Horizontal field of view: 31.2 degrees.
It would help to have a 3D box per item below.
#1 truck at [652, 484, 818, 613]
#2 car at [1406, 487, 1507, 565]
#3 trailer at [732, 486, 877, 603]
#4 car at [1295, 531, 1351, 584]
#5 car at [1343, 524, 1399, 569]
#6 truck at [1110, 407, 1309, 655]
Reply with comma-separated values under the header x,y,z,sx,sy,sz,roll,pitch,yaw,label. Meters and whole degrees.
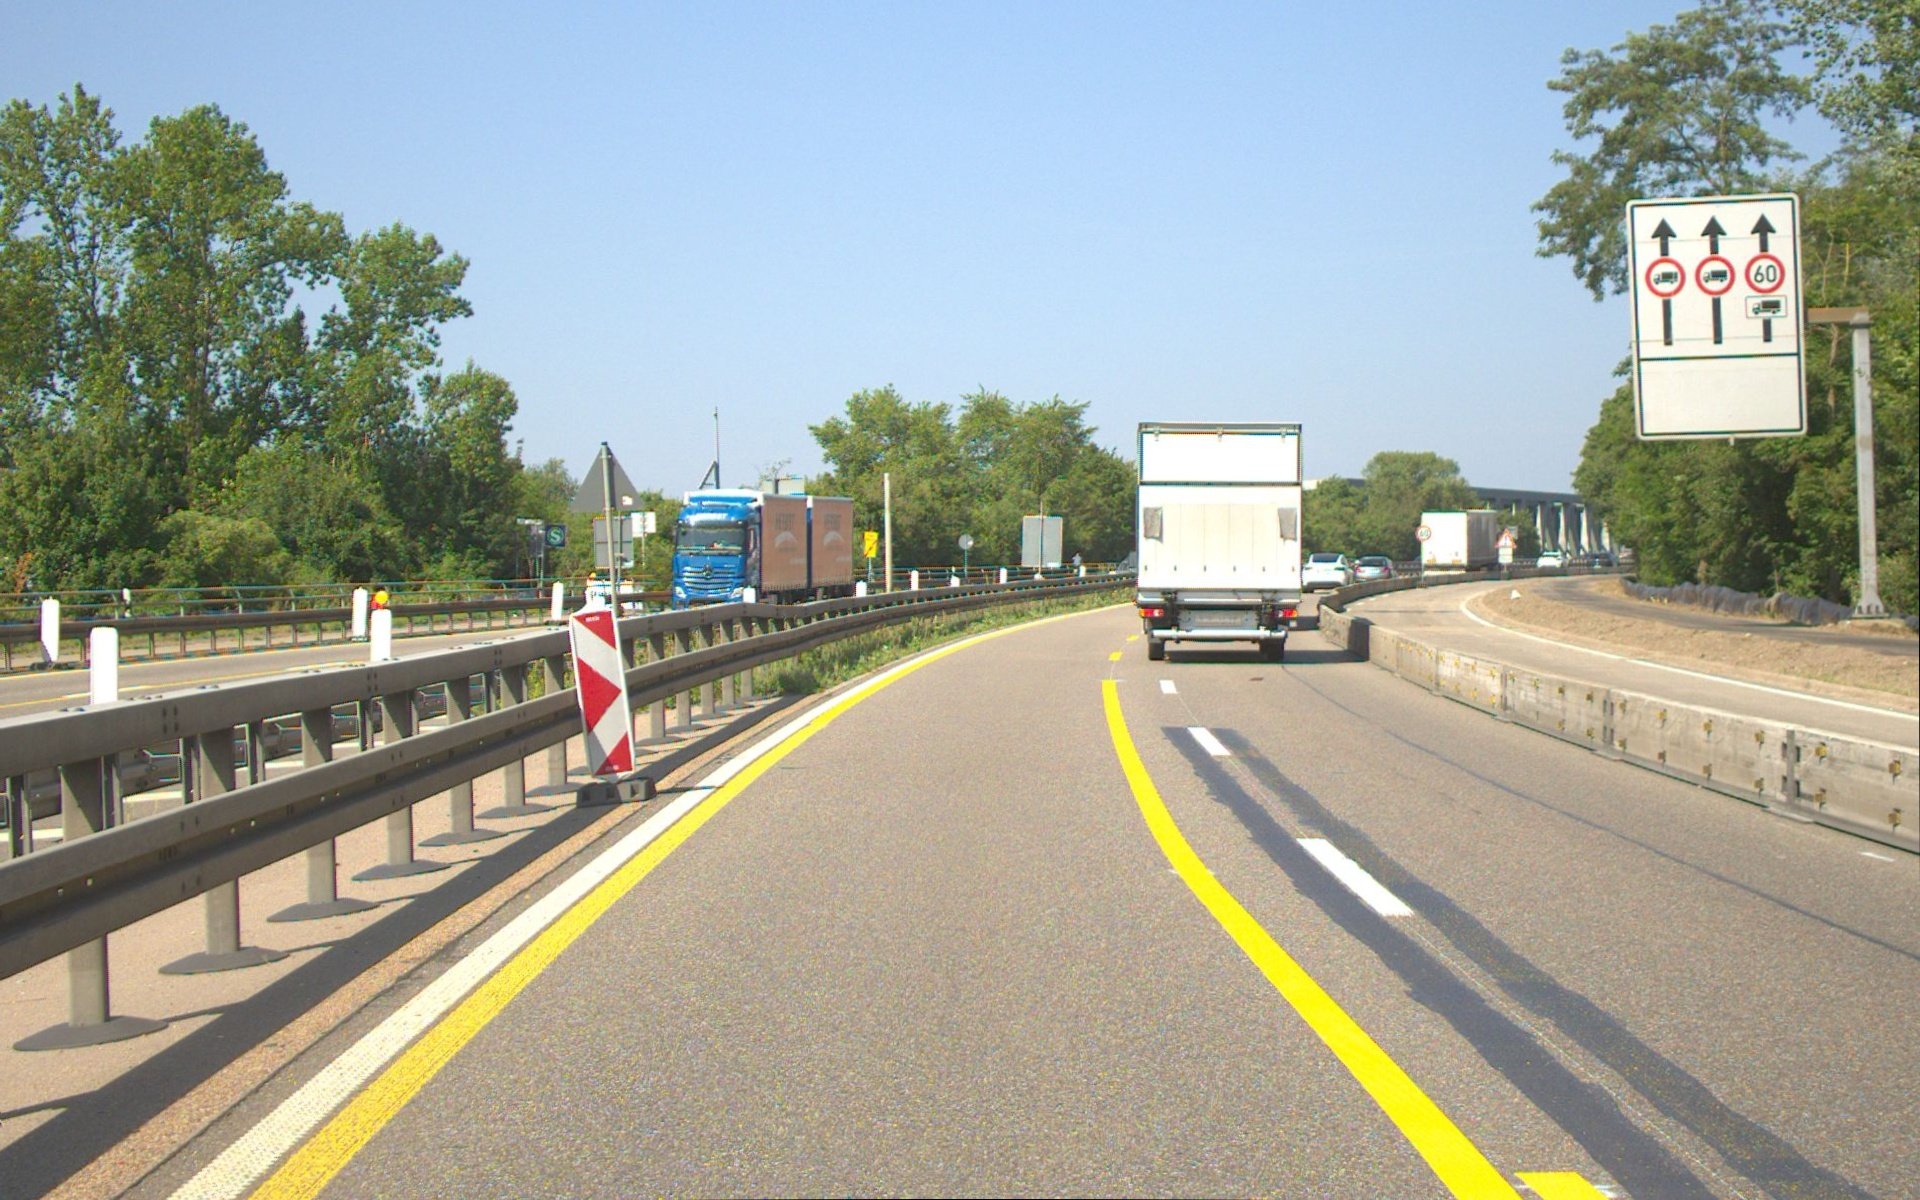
x,y,z,sx,sy,sz,roll,pitch,yaw,label
-7.379,-1.746,114.520,3.039,4.077,10.620,0,1,10,truck
28.820,-4.308,199.005,4.210,4.237,10.654,-2,1,16,car
-5.536,-2.023,124.587,3.039,4.077,9.784,0,1,11,trailer
14.765,-1.739,139.733,1.994,2.007,3.999,-2,1,9,car
19.493,-2.529,162.799,1.995,2.007,3.997,-2,1,15,car
3.628,-1.027,51.463,2.634,3.416,7.233,1,1,2,truck
